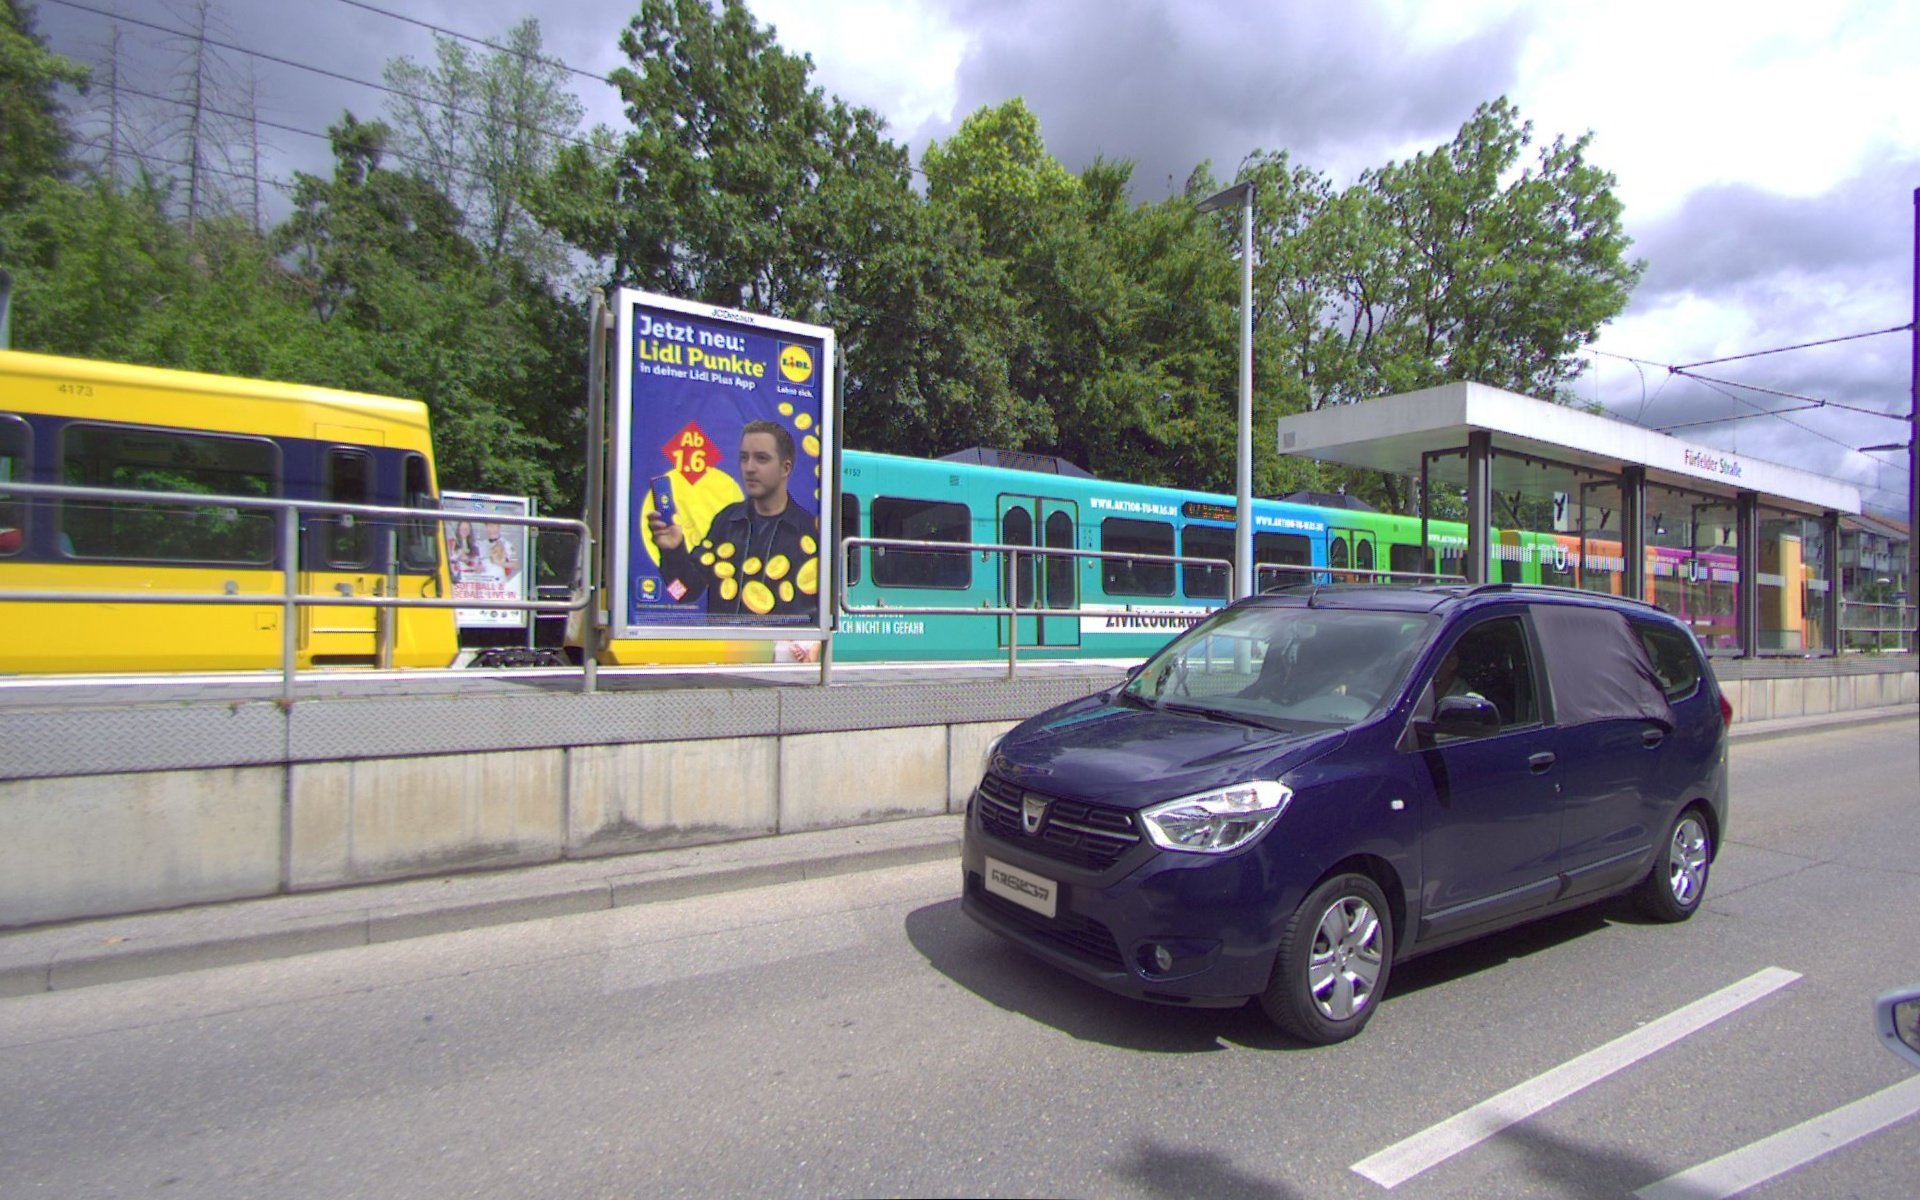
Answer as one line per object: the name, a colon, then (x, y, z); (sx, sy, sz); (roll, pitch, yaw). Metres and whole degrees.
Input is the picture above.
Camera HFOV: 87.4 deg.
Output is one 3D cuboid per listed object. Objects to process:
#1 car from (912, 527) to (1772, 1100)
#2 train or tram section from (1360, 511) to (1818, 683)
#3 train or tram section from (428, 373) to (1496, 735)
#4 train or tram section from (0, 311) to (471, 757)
car: (2.071, 0.667, 4.909); (4.341, 1.705, 1.710); (1, 0, -34)
train or tram section: (17.861, 0.114, 27.072); (18.891, 3.511, 3.088); (1, 0, -34)
train or tram section: (2.183, -0.274, 16.410); (18.999, 3.511, 3.088); (1, 0, -34)
train or tram section: (-13.403, -0.660, 5.788); (18.799, 3.511, 3.088); (1, 0, -34)
